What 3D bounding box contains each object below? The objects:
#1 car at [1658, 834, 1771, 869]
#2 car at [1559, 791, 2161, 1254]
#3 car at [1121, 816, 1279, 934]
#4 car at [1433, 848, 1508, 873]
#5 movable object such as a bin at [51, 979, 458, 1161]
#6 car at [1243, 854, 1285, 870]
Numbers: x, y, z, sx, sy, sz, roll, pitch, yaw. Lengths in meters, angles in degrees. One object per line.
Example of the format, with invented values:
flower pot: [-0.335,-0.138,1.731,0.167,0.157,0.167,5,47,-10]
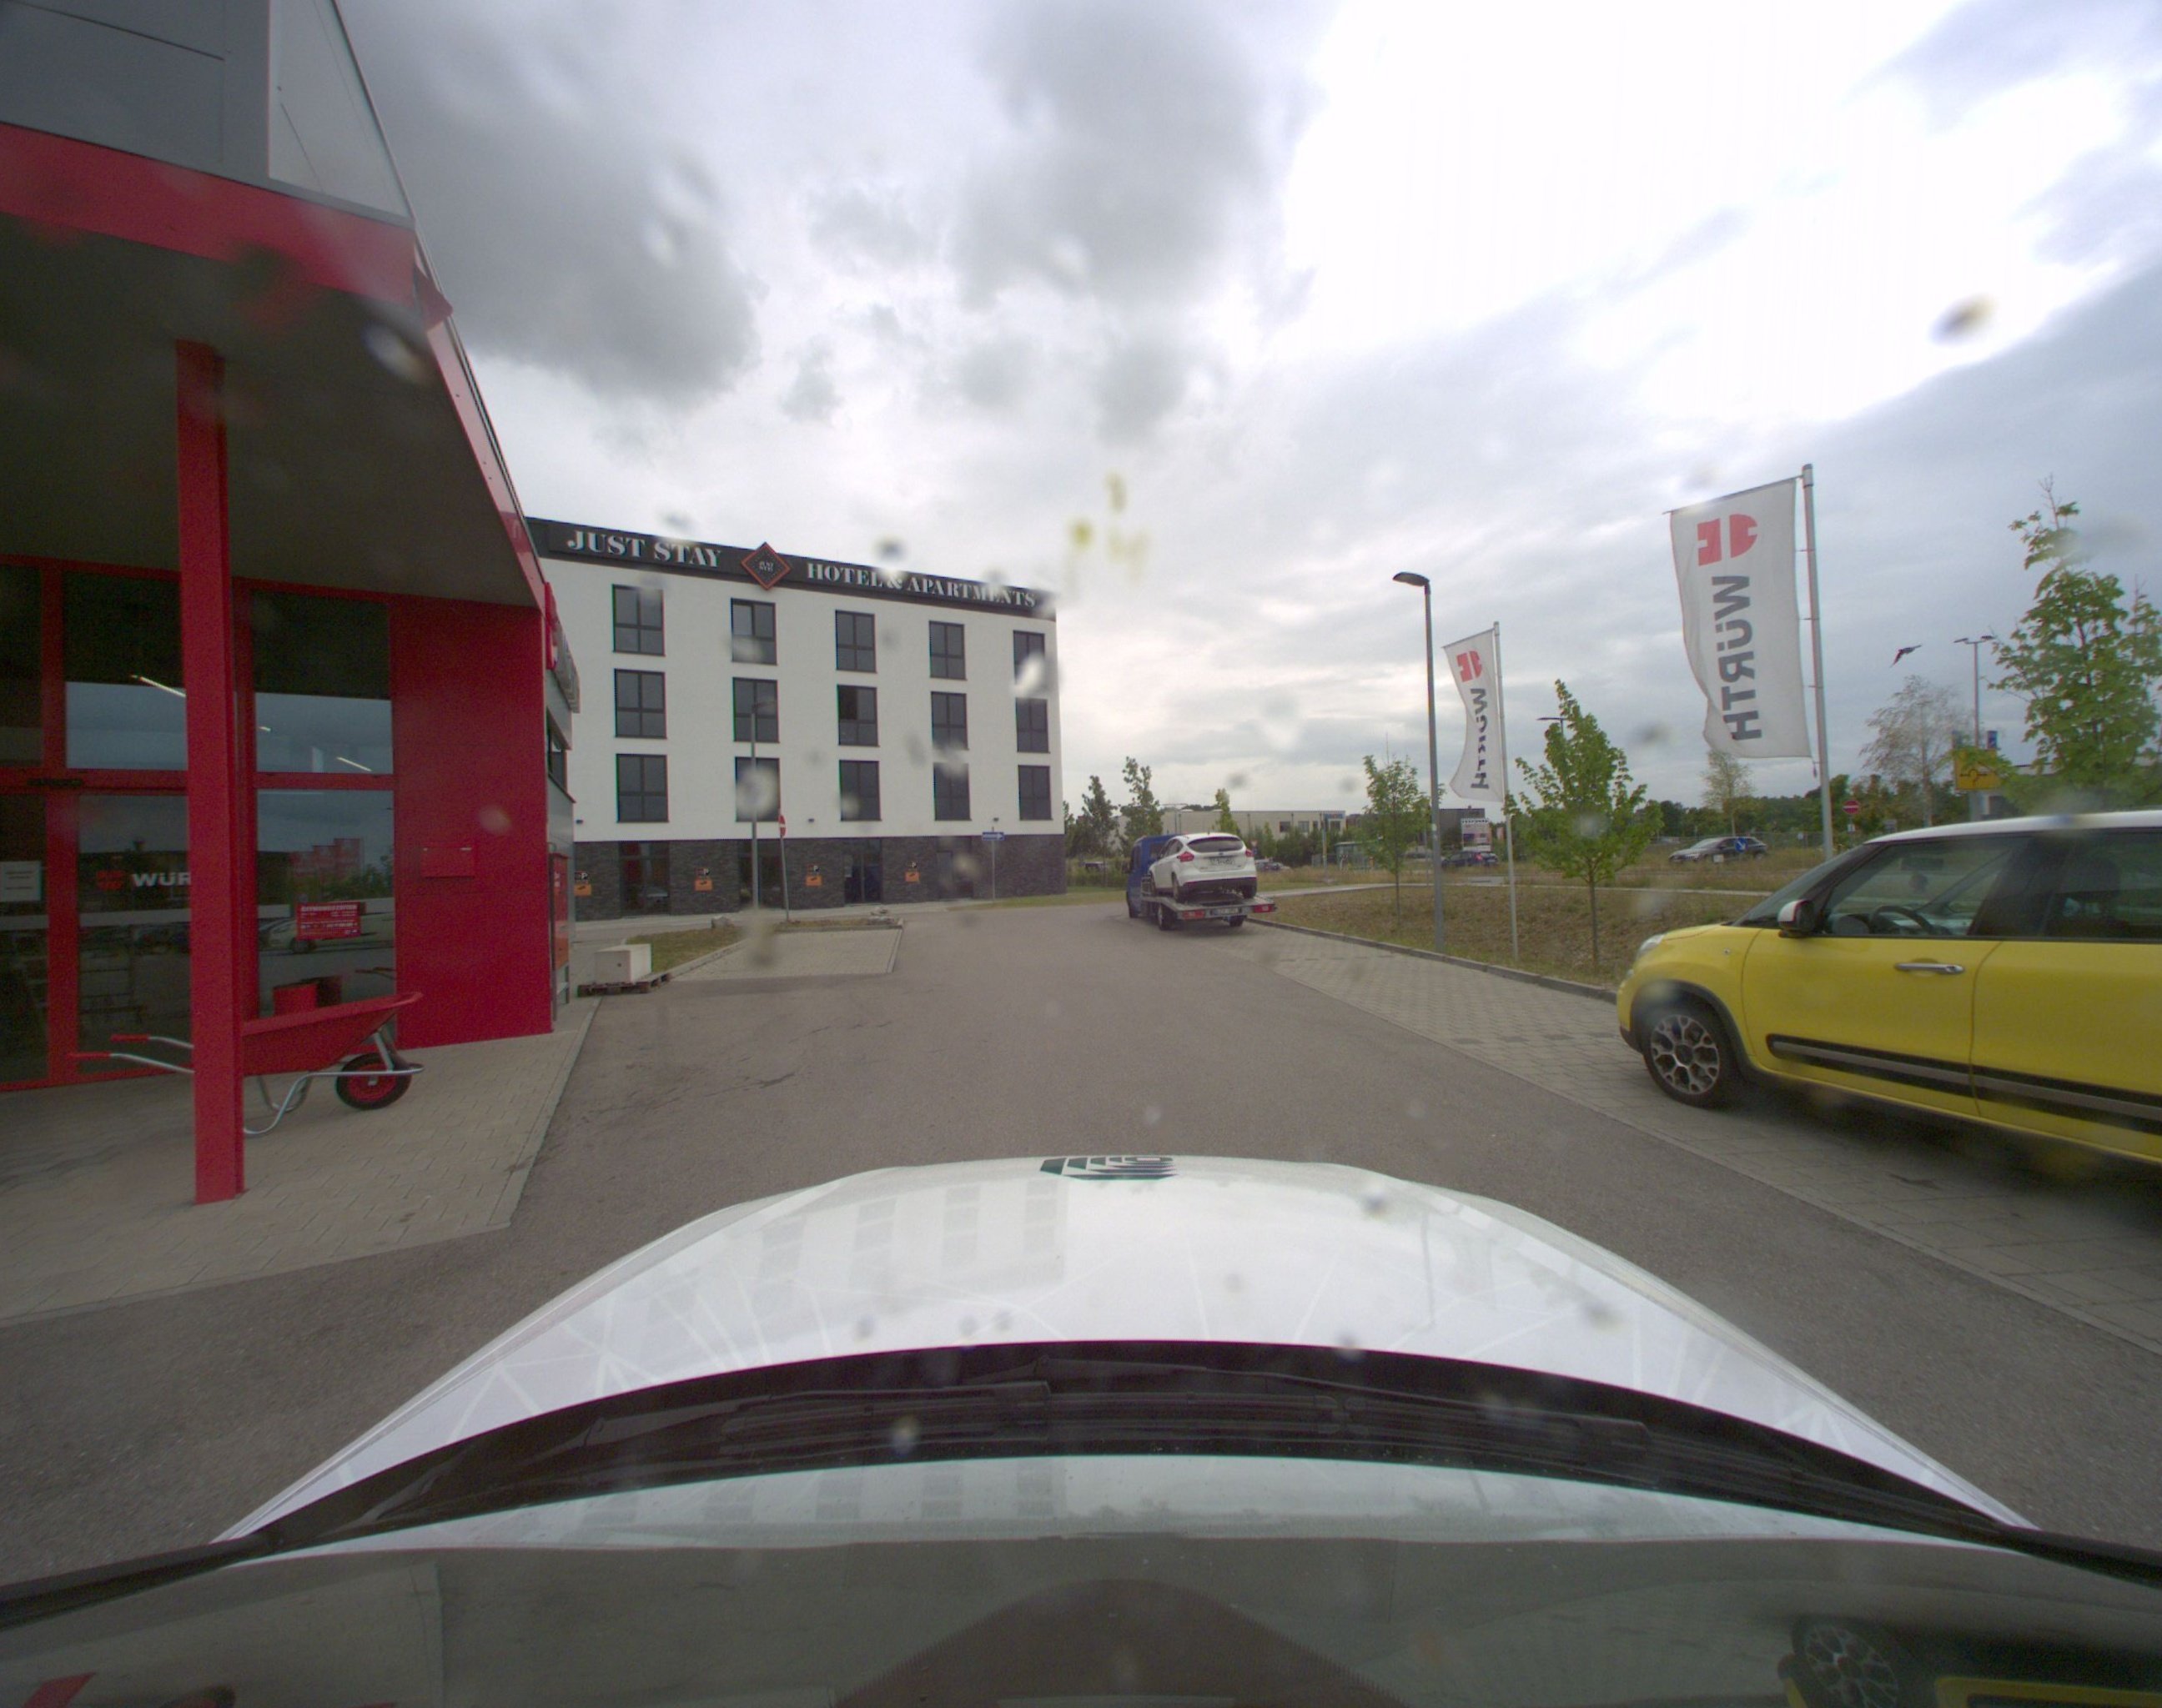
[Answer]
car: [30.308,-0.127,39.018,4.305,1.466,1.792,-2,-1,-9]
car: [4.655,0.604,3.910,1.747,1.683,4.285,-1,-1,-9]
car: [2.624,0.498,20.523,2.190,2.323,7.843,-2,-1,-5]
car: [22.474,0.394,47.165,1.718,1.324,3.978,-2,0,-16]
movable object such as a bin: [-4.967,1.266,5.072,1.588,0.716,0.796,-2,-1,-27]
car: [15.290,0.693,68.134,1.718,1.224,3.978,-2,0,-16]
